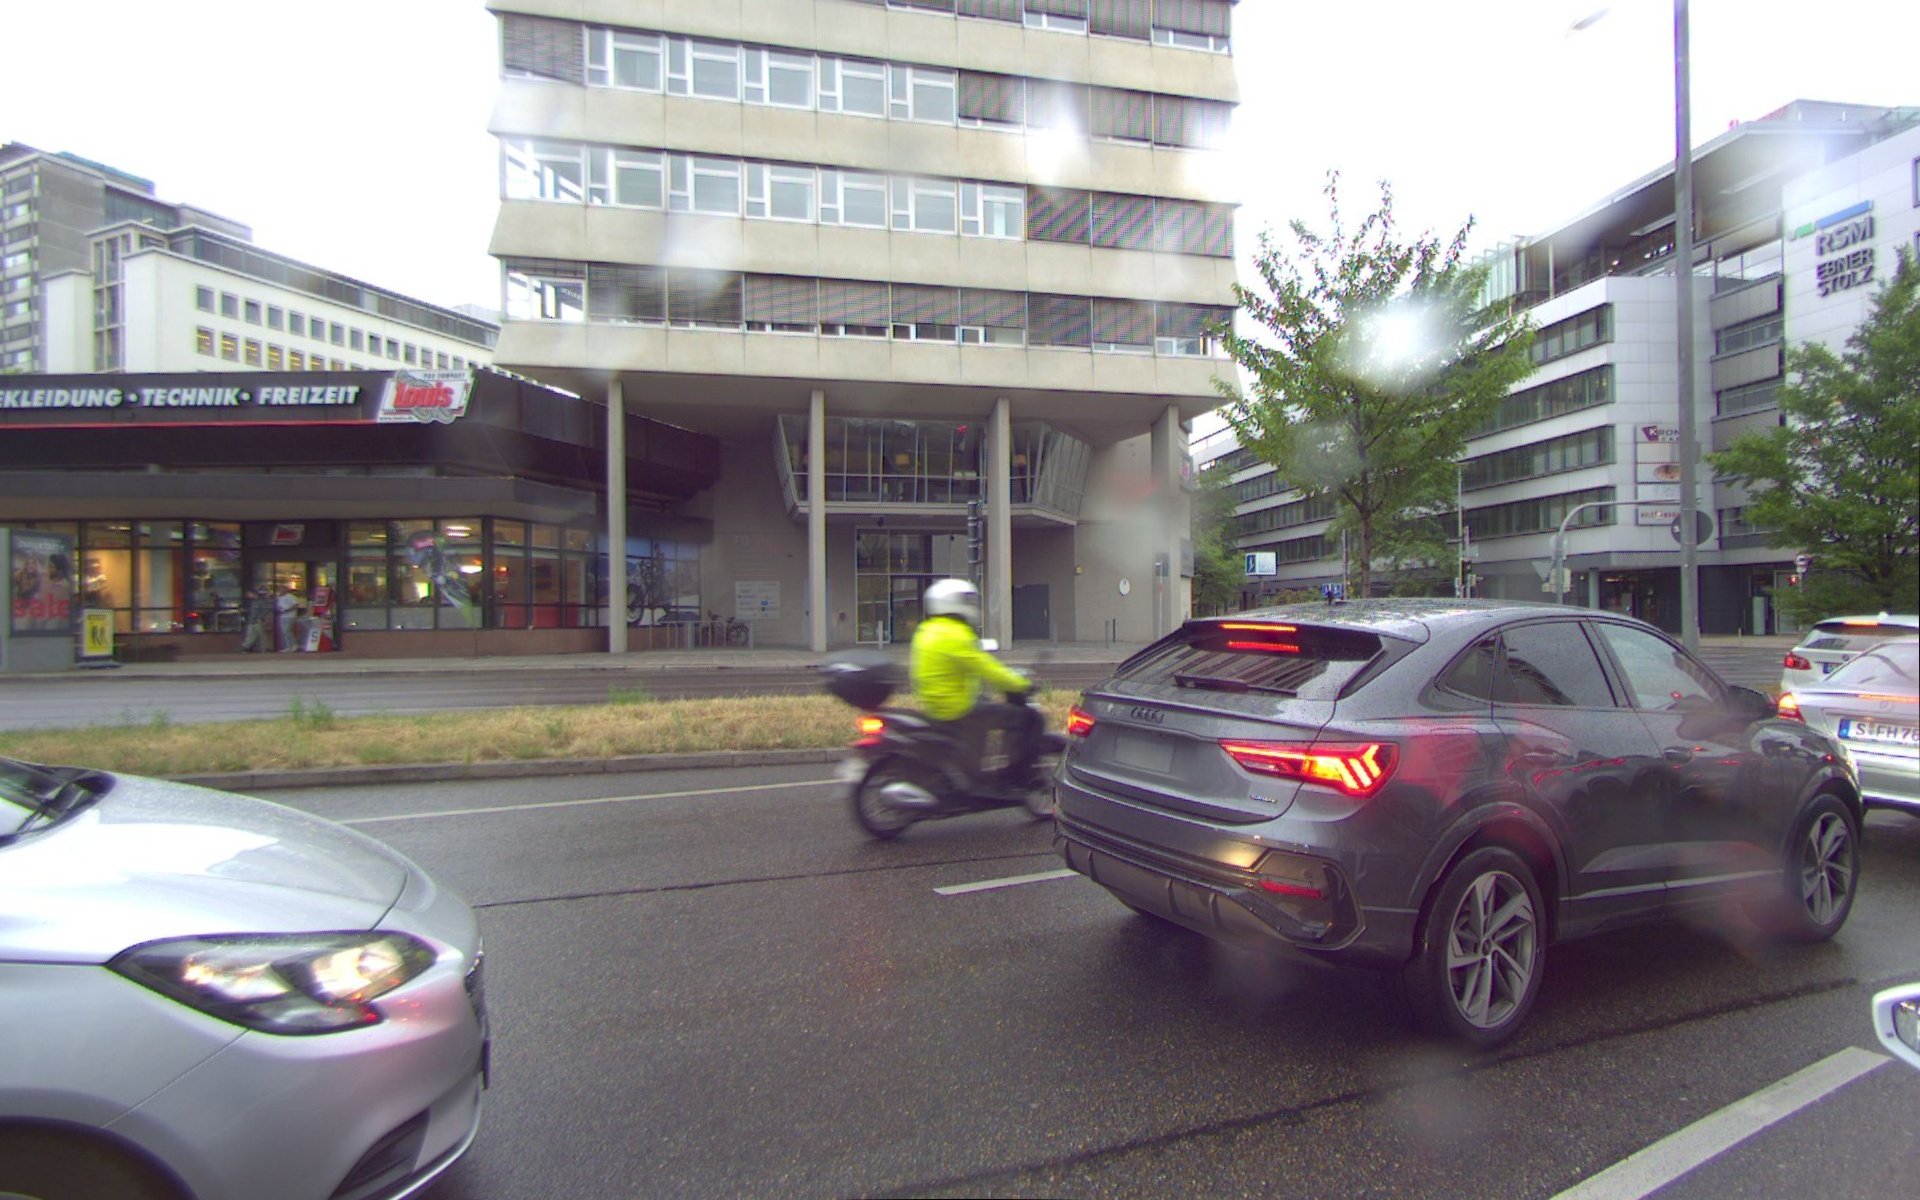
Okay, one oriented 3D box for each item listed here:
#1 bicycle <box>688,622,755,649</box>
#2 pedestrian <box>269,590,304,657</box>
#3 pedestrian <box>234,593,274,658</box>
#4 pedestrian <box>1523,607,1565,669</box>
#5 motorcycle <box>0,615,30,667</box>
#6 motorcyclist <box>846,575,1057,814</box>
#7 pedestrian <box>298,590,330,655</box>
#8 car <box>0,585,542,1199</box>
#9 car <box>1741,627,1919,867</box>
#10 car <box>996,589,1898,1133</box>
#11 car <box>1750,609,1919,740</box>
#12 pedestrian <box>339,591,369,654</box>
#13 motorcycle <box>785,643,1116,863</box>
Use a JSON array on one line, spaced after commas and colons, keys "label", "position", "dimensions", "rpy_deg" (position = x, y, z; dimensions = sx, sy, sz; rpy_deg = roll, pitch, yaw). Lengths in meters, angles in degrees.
[{"label": "bicycle", "position": [-8.126, 1.204, 34.254], "dimensions": [2.165, 0.871, 0.456], "rpy_deg": [2, 0, -31]}, {"label": "pedestrian", "position": [-17.899, 0.618, 26.699], "dimensions": [0.548, 1.767, 0.614], "rpy_deg": [1, 0, -9]}, {"label": "pedestrian", "position": [-17.981, 0.650, 25.580], "dimensions": [0.601, 1.633, 0.614], "rpy_deg": [1, 0, -9]}, {"label": "pedestrian", "position": [16.362, 1.050, 28.162], "dimensions": [0.751, 1.706, 0.677], "rpy_deg": [1, 0, -16]}, {"label": "motorcycle", "position": [-23.539, 0.985, 24.193], "dimensions": [0.353, 1.249, 1.669], "rpy_deg": [1, 0, 20]}, {"label": "motorcyclist", "position": [-0.062, 0.564, 6.499], "dimensions": [1.105, 1.398, 0.766], "rpy_deg": [2, 0, -30]}, {"label": "pedestrian", "position": [-17.935, 0.623, 27.894], "dimensions": [0.548, 1.767, 0.541], "rpy_deg": [1, 0, -9]}, {"label": "car", "position": [-2.880, 0.682, 1.679], "dimensions": [3.831, 1.455, 1.639], "rpy_deg": [1, 0, -32]}, {"label": "car", "position": [7.647, 0.968, 7.079], "dimensions": [4.050, 1.426, 1.567], "rpy_deg": [2, 0, -22]}, {"label": "car", "position": [2.387, 0.763, 4.615], "dimensions": [4.220, 1.542, 1.640], "rpy_deg": [1, 0, -30]}, {"label": "car", "position": [12.623, 0.934, 13.210], "dimensions": [3.940, 1.506, 1.704], "rpy_deg": [2, 0, -20]}, {"label": "pedestrian", "position": [-17.324, 0.646, 28.706], "dimensions": [0.548, 1.767, 0.541], "rpy_deg": [1, 0, -9]}, {"label": "motorcycle", "position": [-0.035, 0.907, 6.519], "dimensions": [2.005, 1.200, 0.796], "rpy_deg": [2, 0, -30]}]
